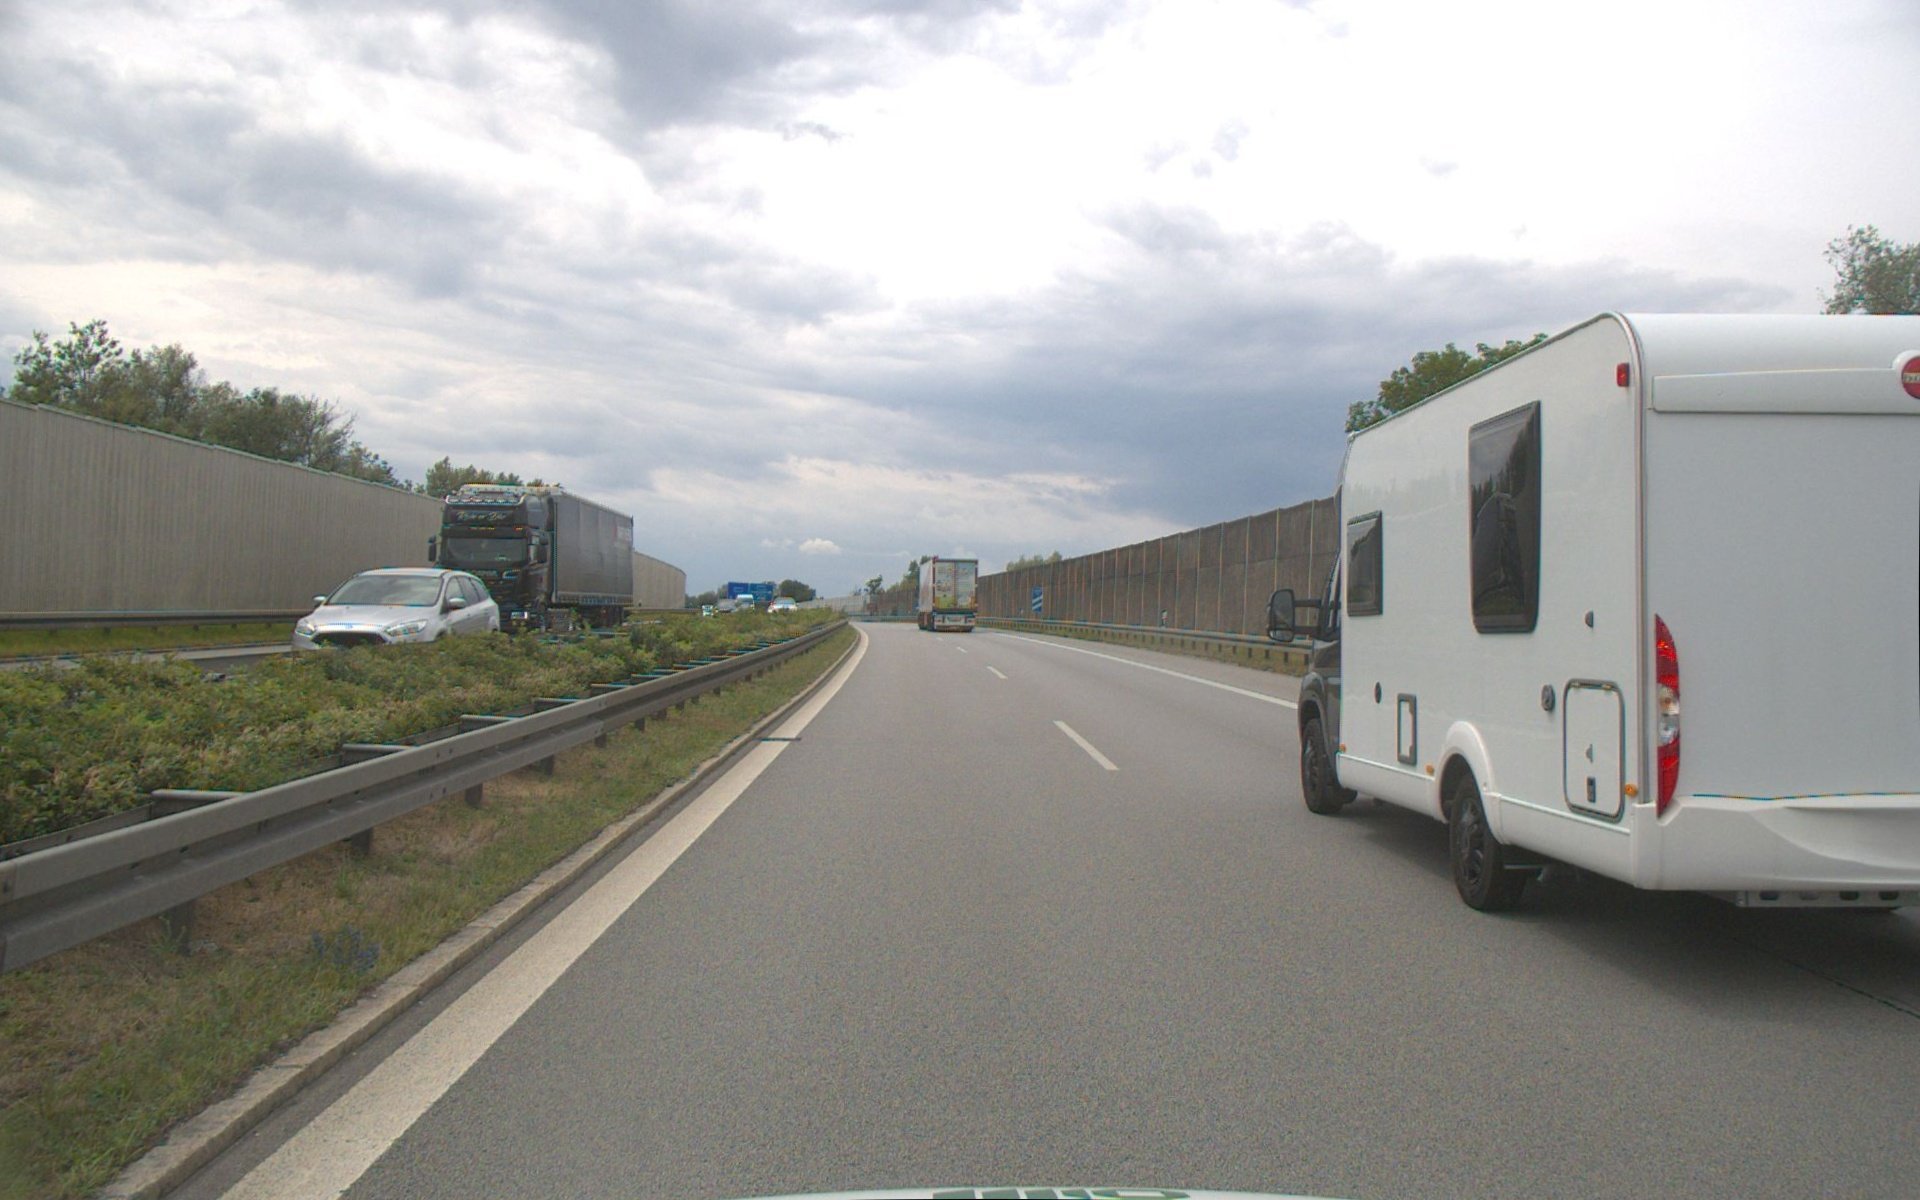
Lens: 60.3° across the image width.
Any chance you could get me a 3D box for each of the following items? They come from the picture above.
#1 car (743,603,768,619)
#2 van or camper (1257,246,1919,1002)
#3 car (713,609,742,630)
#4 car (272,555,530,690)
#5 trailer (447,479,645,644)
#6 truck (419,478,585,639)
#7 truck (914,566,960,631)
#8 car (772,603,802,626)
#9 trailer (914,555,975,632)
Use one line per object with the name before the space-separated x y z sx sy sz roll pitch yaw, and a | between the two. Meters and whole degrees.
car | -18.815 1.042 152.331 1.954 1.388 4.963 1 0 -4
van or camper | 3.665 0.113 9.683 2.380 2.744 7.223 1 0 -1
car | -16.357 1.336 116.569 1.688 1.442 4.551 0 0 -3
car | -7.267 0.274 22.028 1.892 1.576 4.566 1 0 -1
trailer | -12.200 -0.989 50.461 2.921 4.314 14.173 0 0 -2
truck | -11.937 -1.003 43.694 2.815 3.926 6.072 1 0 -2
truck | -1.475 -0.039 105.193 2.701 4.029 5.673 1 -1 -3
car | -13.335 1.093 127.742 1.925 1.699 4.921 2 0 -3
trailer | -1.064 -0.259 98.887 2.738 4.248 14.089 1 -1 -4
